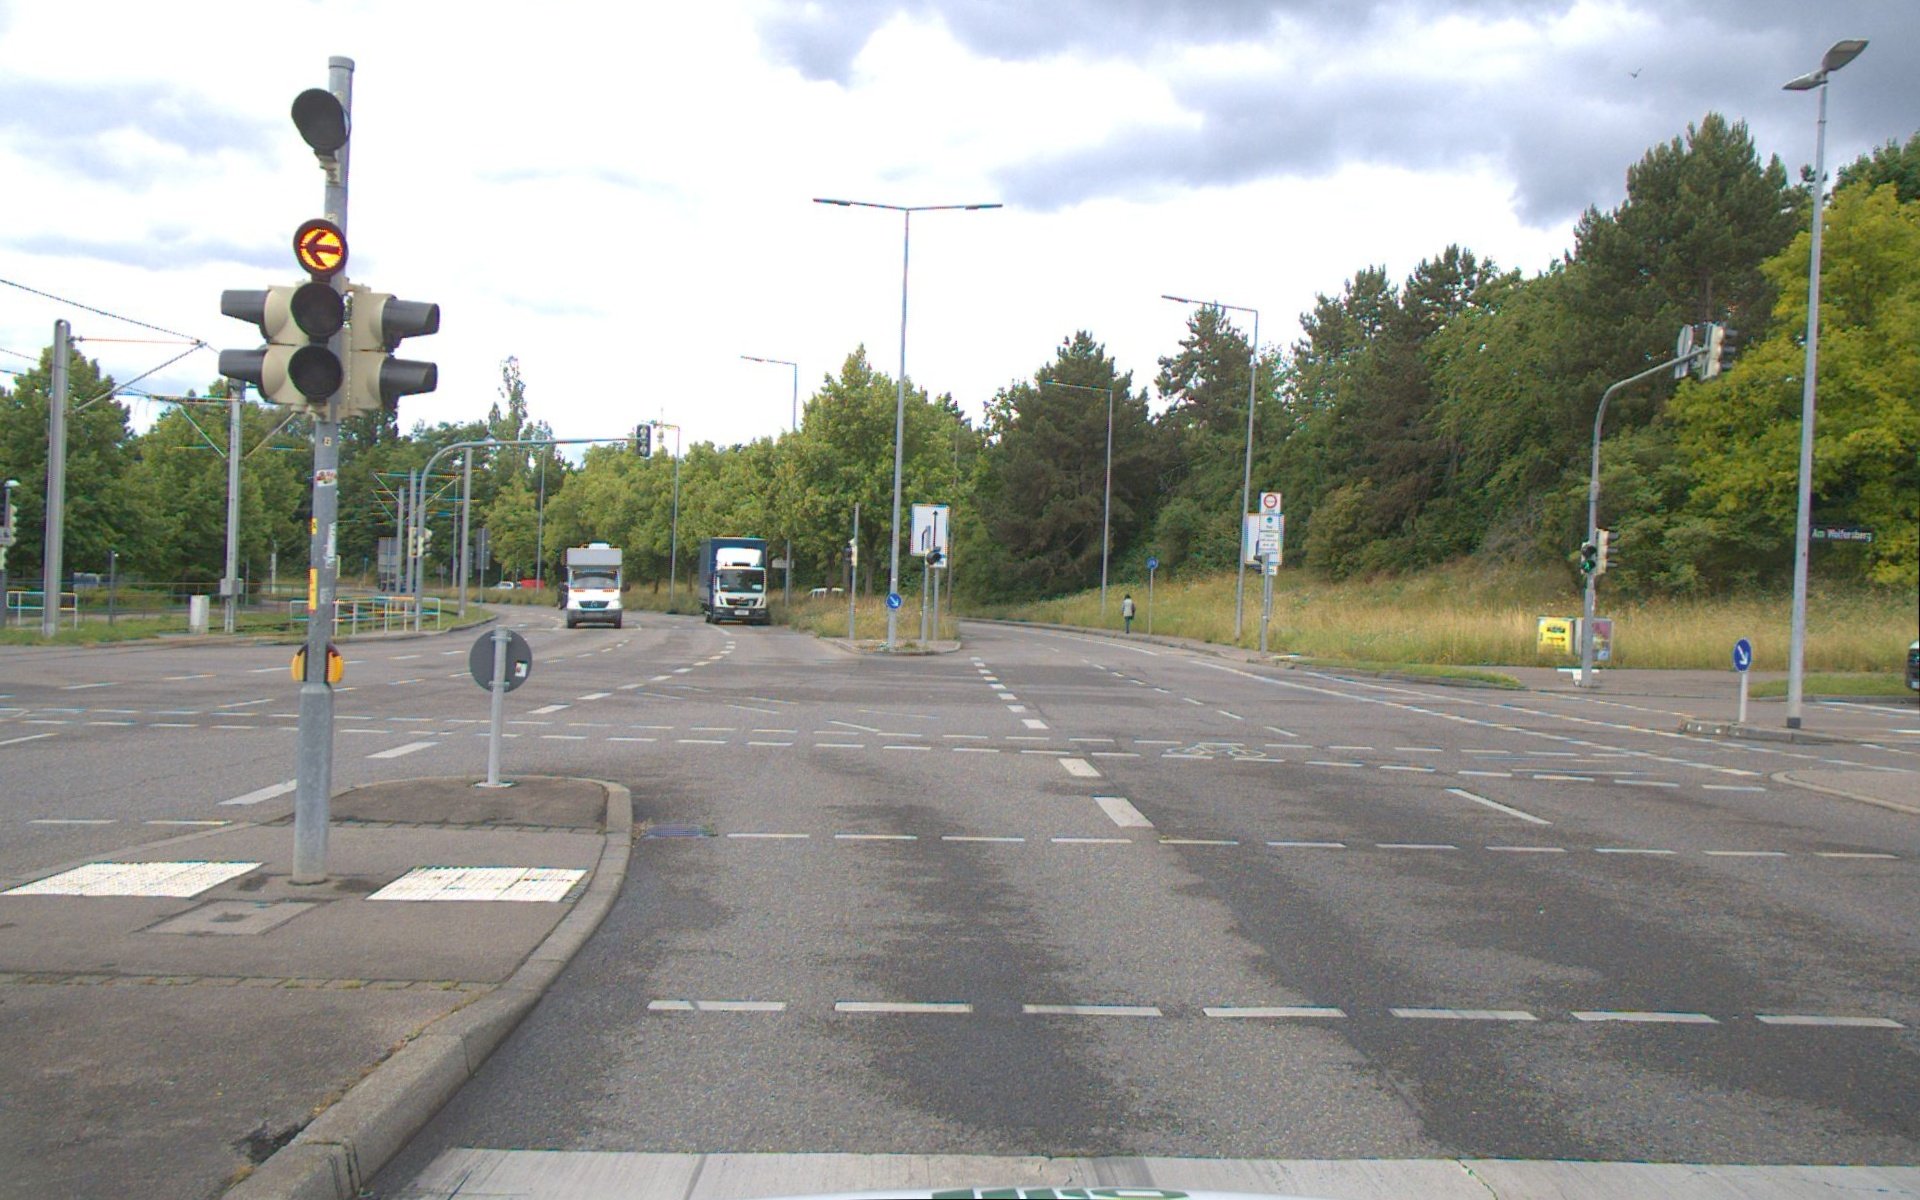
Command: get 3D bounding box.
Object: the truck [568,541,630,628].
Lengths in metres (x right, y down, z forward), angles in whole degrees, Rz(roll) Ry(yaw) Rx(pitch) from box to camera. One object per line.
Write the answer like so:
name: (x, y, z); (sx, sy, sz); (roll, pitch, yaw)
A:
truck: (-13.621, -0.565, 62.465); (2.068, 3.063, 6.254); (-2, 1, -12)

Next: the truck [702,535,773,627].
truck: (-10.203, -0.839, 75.264); (2.728, 3.871, 8.368); (1, 0, -11)

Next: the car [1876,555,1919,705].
car: (20.220, 0.576, 30.158); (5.818, 2.705, 2.228); (1, -1, 1)

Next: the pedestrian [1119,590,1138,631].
pedestrian: (7.261, 0.466, 71.431); (0.724, 1.747, 0.625); (1, 0, -1)

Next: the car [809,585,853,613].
car: (-8.597, -0.068, 110.075); (1.965, 1.758, 3.703); (1, 0, -21)
